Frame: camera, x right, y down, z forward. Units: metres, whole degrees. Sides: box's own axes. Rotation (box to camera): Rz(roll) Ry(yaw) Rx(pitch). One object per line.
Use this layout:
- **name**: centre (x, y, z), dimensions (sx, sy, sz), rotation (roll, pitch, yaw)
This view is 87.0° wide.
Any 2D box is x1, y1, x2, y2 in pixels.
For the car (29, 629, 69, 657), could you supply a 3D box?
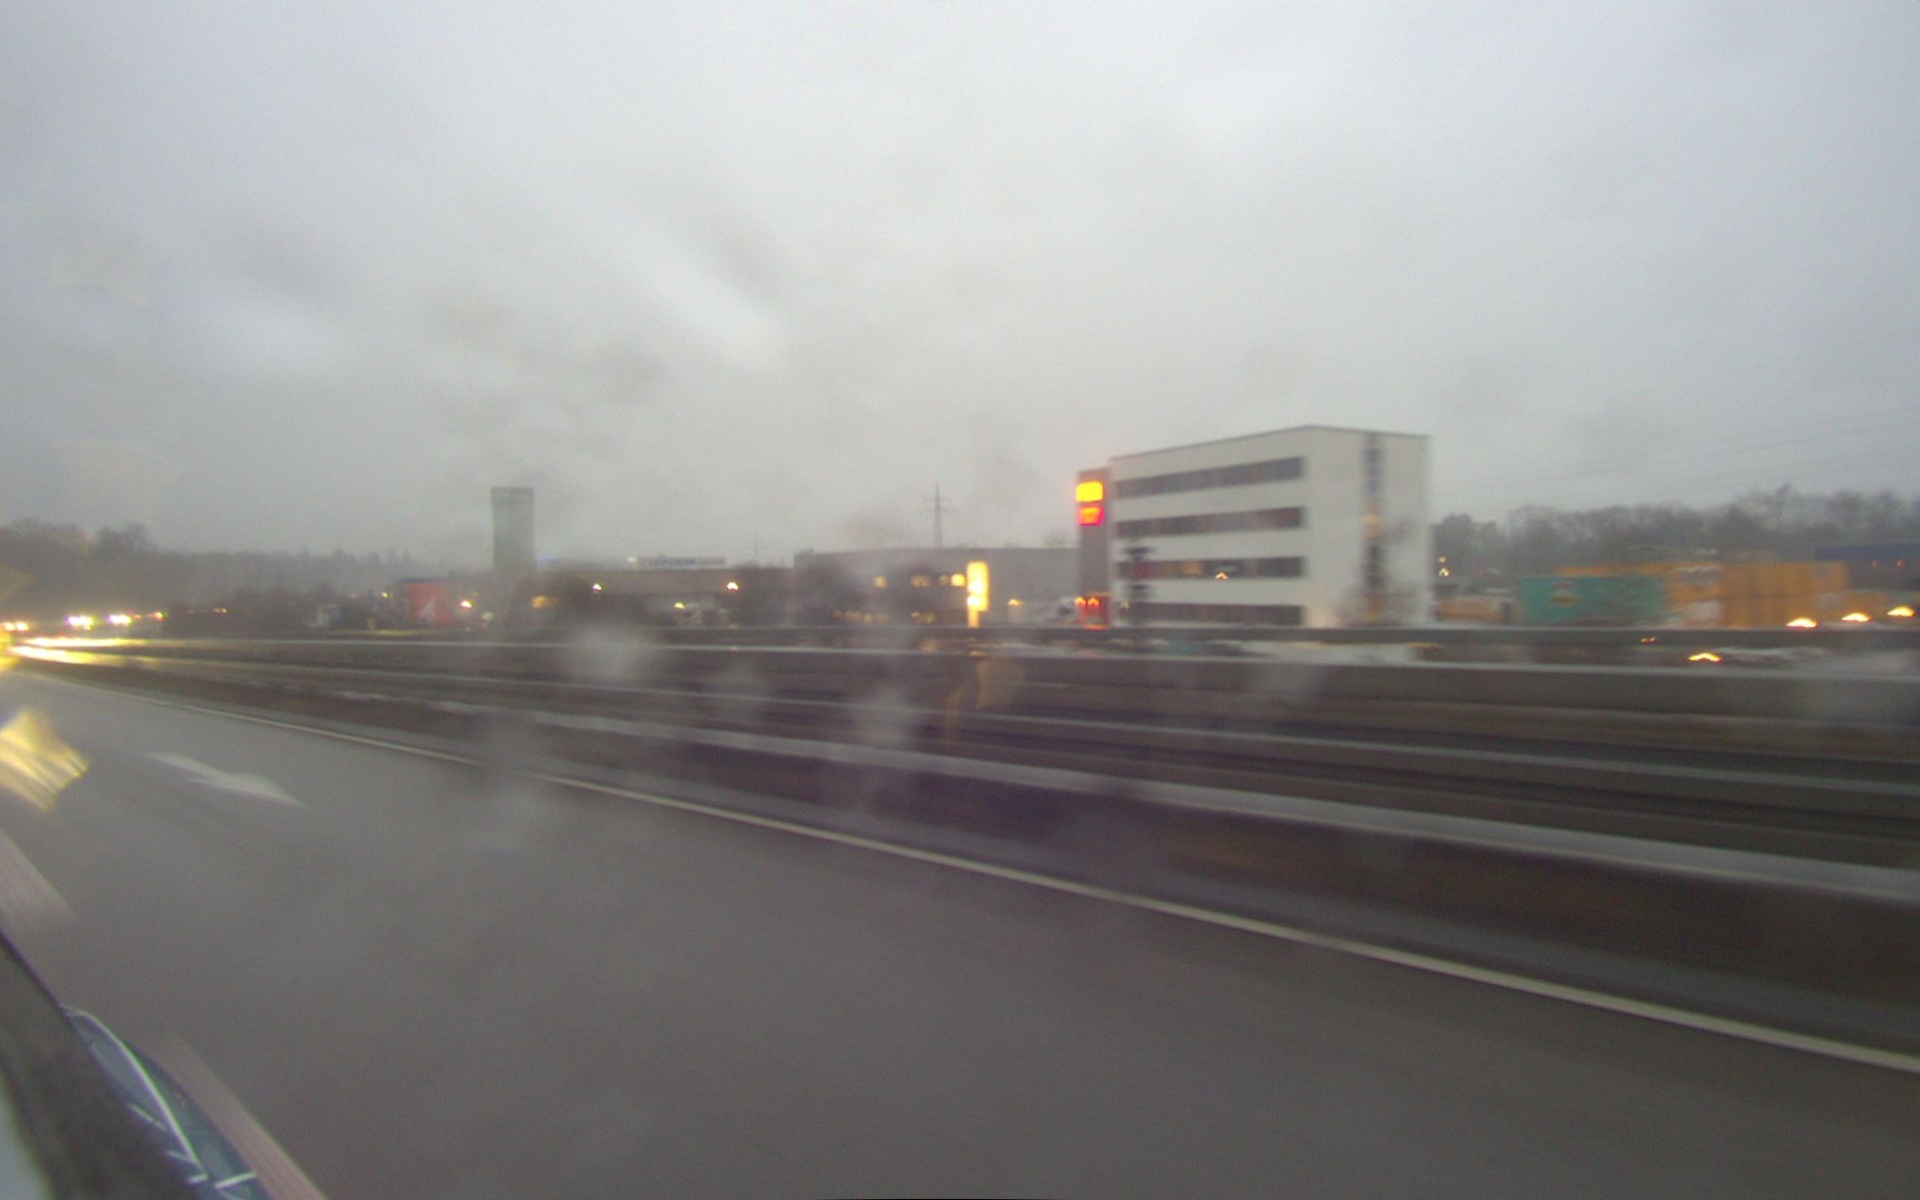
- **car**: centre (-63.666, 2.982, 70.721), dimensions (1.970, 1.863, 3.675), rotation (-1, 0, -44)
